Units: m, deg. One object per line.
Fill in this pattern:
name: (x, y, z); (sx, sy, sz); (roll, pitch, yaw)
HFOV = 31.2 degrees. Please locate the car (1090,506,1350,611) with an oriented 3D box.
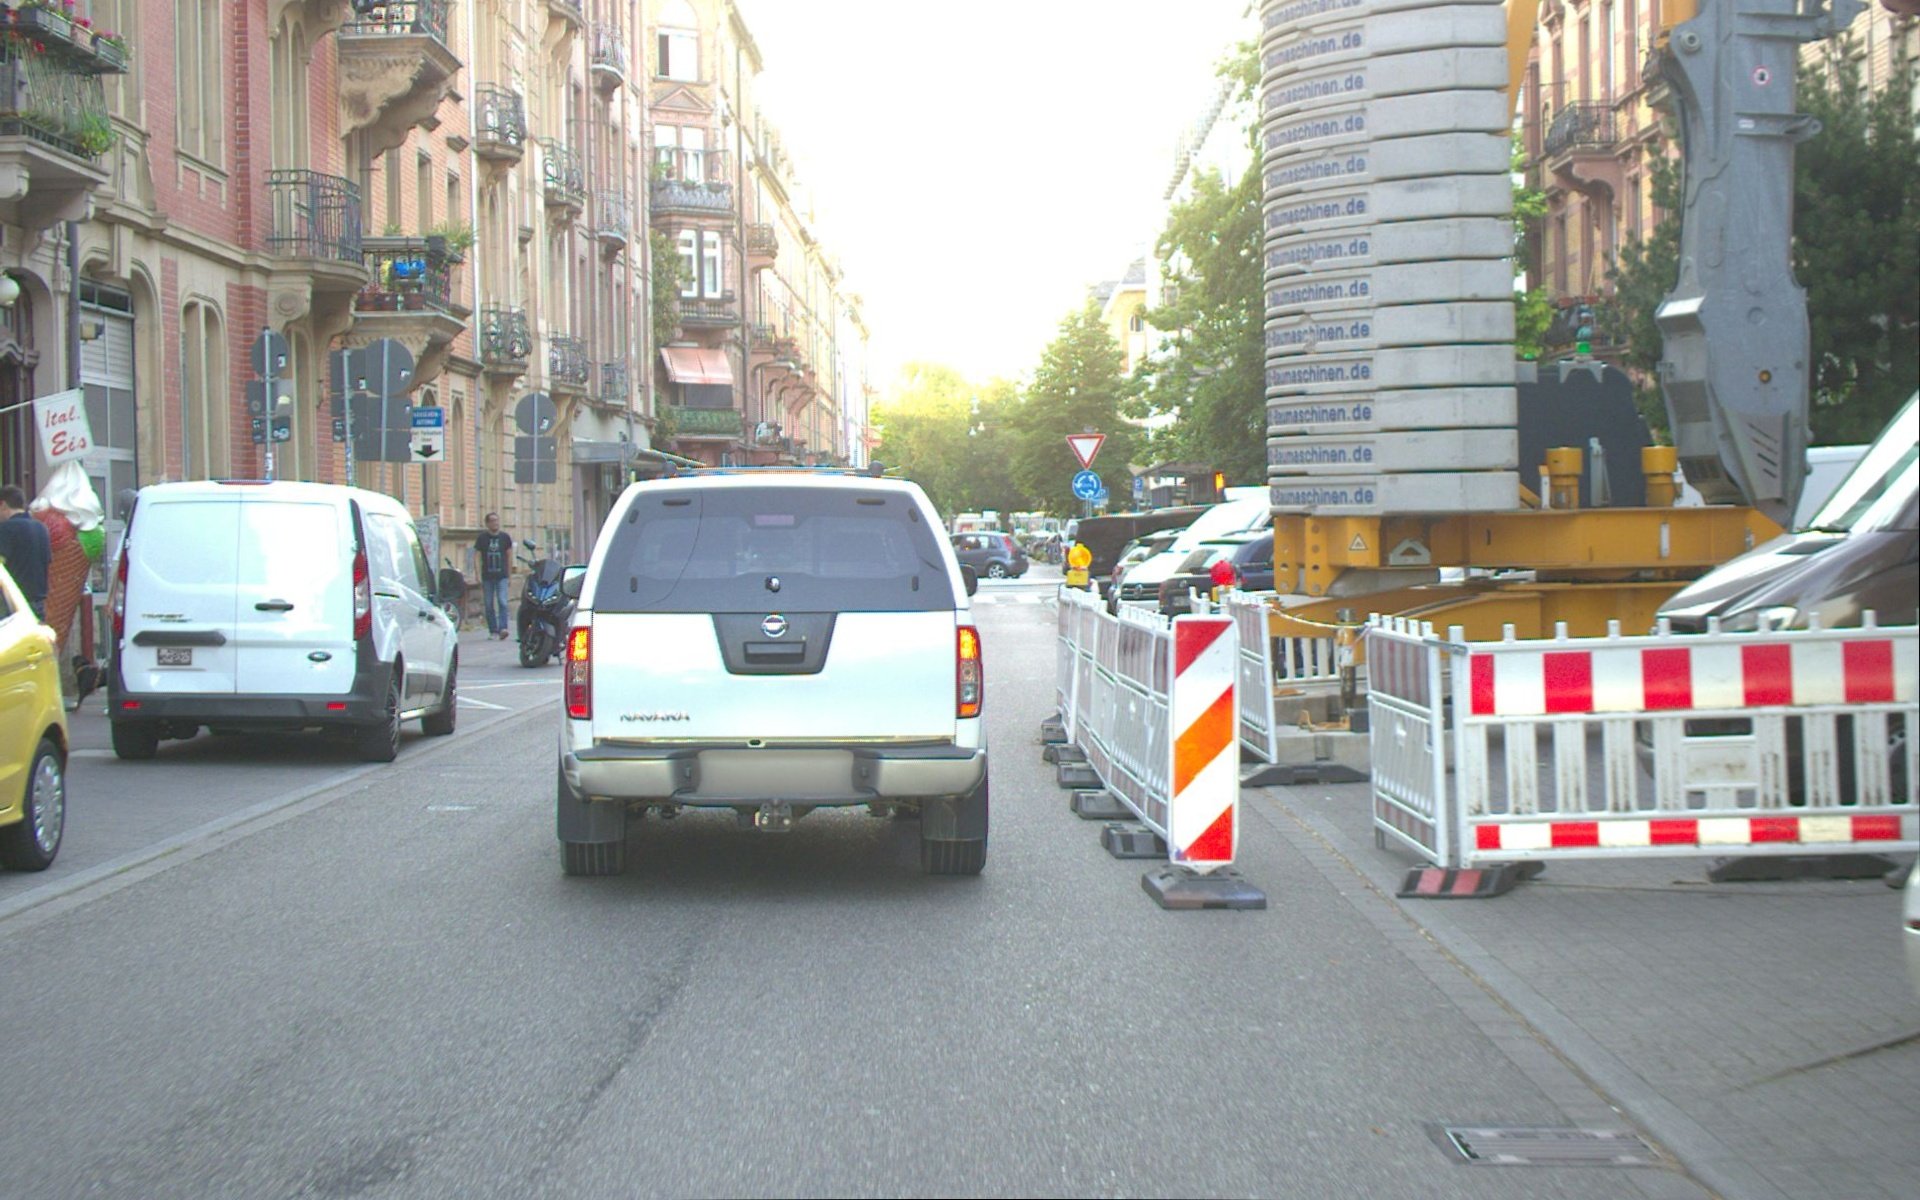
car: (4.485, -0.726, 59.181); (4.096, 1.546, 1.819); (-4, 2, -31)

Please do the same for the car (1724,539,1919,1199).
car: (3.982, 0.517, 8.630); (3.983, 1.483, 1.685); (-4, 2, -33)

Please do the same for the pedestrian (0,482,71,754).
pedestrian: (-6.202, 0.108, 22.249); (0.619, 1.724, 0.584); (1, 0, 29)

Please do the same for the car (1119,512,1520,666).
car: (3.861, -0.148, 36.905); (3.854, 1.511, 1.848); (-2, 2, -25)

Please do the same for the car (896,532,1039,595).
car: (0.217, -1.033, 97.693); (3.762, 1.722, 1.769); (1, 0, 12)

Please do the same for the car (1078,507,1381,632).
car: (4.003, -0.466, 50.915); (4.096, 1.585, 1.819); (-4, 2, -30)

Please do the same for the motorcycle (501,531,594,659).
motorcycle: (-4.635, -0.066, 38.726); (0.685, 1.400, 2.014); (1, 1, 3)

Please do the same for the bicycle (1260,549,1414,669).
bicycle: (3.728, 0.071, 34.125); (0.495, 1.132, 1.814); (-3, 3, -31)

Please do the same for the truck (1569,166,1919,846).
truck: (6.389, -0.401, 16.669); (6.481, 3.066, 2.524); (1, 0, 4)

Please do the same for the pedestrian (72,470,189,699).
pedestrian: (-6.660, -0.127, 27.615); (0.598, 1.808, 0.720); (1, 0, 19)

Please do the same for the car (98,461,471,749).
car: (-4.549, 0.009, 23.774); (1.770, 1.783, 4.588); (0, 1, -1)

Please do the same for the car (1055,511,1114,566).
car: (4.480, -2.221, 124.263); (1.942, 1.927, 4.000); (1, 1, 0)

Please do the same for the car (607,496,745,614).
car: (-4.753, -0.773, 58.100); (1.837, 1.915, 4.845); (0, 1, 1)

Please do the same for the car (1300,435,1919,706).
car: (5.565, -0.279, 28.693); (5.173, 1.949, 1.899); (-3, 2, 0)

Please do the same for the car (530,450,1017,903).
car: (-0.922, 0.286, 16.351); (1.938, 1.804, 5.002); (1, 1, -4)

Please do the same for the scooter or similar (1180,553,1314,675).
scooter or similar: (2.832, 0.123, 34.042); (0.654, 1.146, 1.485); (-3, 2, -23)

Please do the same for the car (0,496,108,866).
car: (-4.827, 0.343, 13.896); (1.705, 1.525, 3.792); (0, 1, 2)

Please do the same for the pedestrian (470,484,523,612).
pedestrian: (-6.619, -0.746, 49.141); (0.681, 1.804, 0.961); (1, 0, -5)

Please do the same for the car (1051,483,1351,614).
car: (4.422, -0.950, 62.517); (5.421, 2.065, 1.933); (-5, 2, -37)

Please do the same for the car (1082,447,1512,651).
car: (4.173, -0.658, 42.448); (4.922, 2.354, 2.000); (-2, 2, -25)

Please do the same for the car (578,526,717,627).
car: (-4.710, -0.386, 52.337); (1.837, 1.466, 4.173); (0, 1, -2)

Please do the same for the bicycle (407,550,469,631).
bicycle: (-7.275, -0.143, 47.955); (0.749, 1.097, 2.026); (1, 1, -6)

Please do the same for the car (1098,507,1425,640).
car: (4.220, -0.399, 47.993); (4.153, 1.585, 1.886); (-4, 3, -30)
